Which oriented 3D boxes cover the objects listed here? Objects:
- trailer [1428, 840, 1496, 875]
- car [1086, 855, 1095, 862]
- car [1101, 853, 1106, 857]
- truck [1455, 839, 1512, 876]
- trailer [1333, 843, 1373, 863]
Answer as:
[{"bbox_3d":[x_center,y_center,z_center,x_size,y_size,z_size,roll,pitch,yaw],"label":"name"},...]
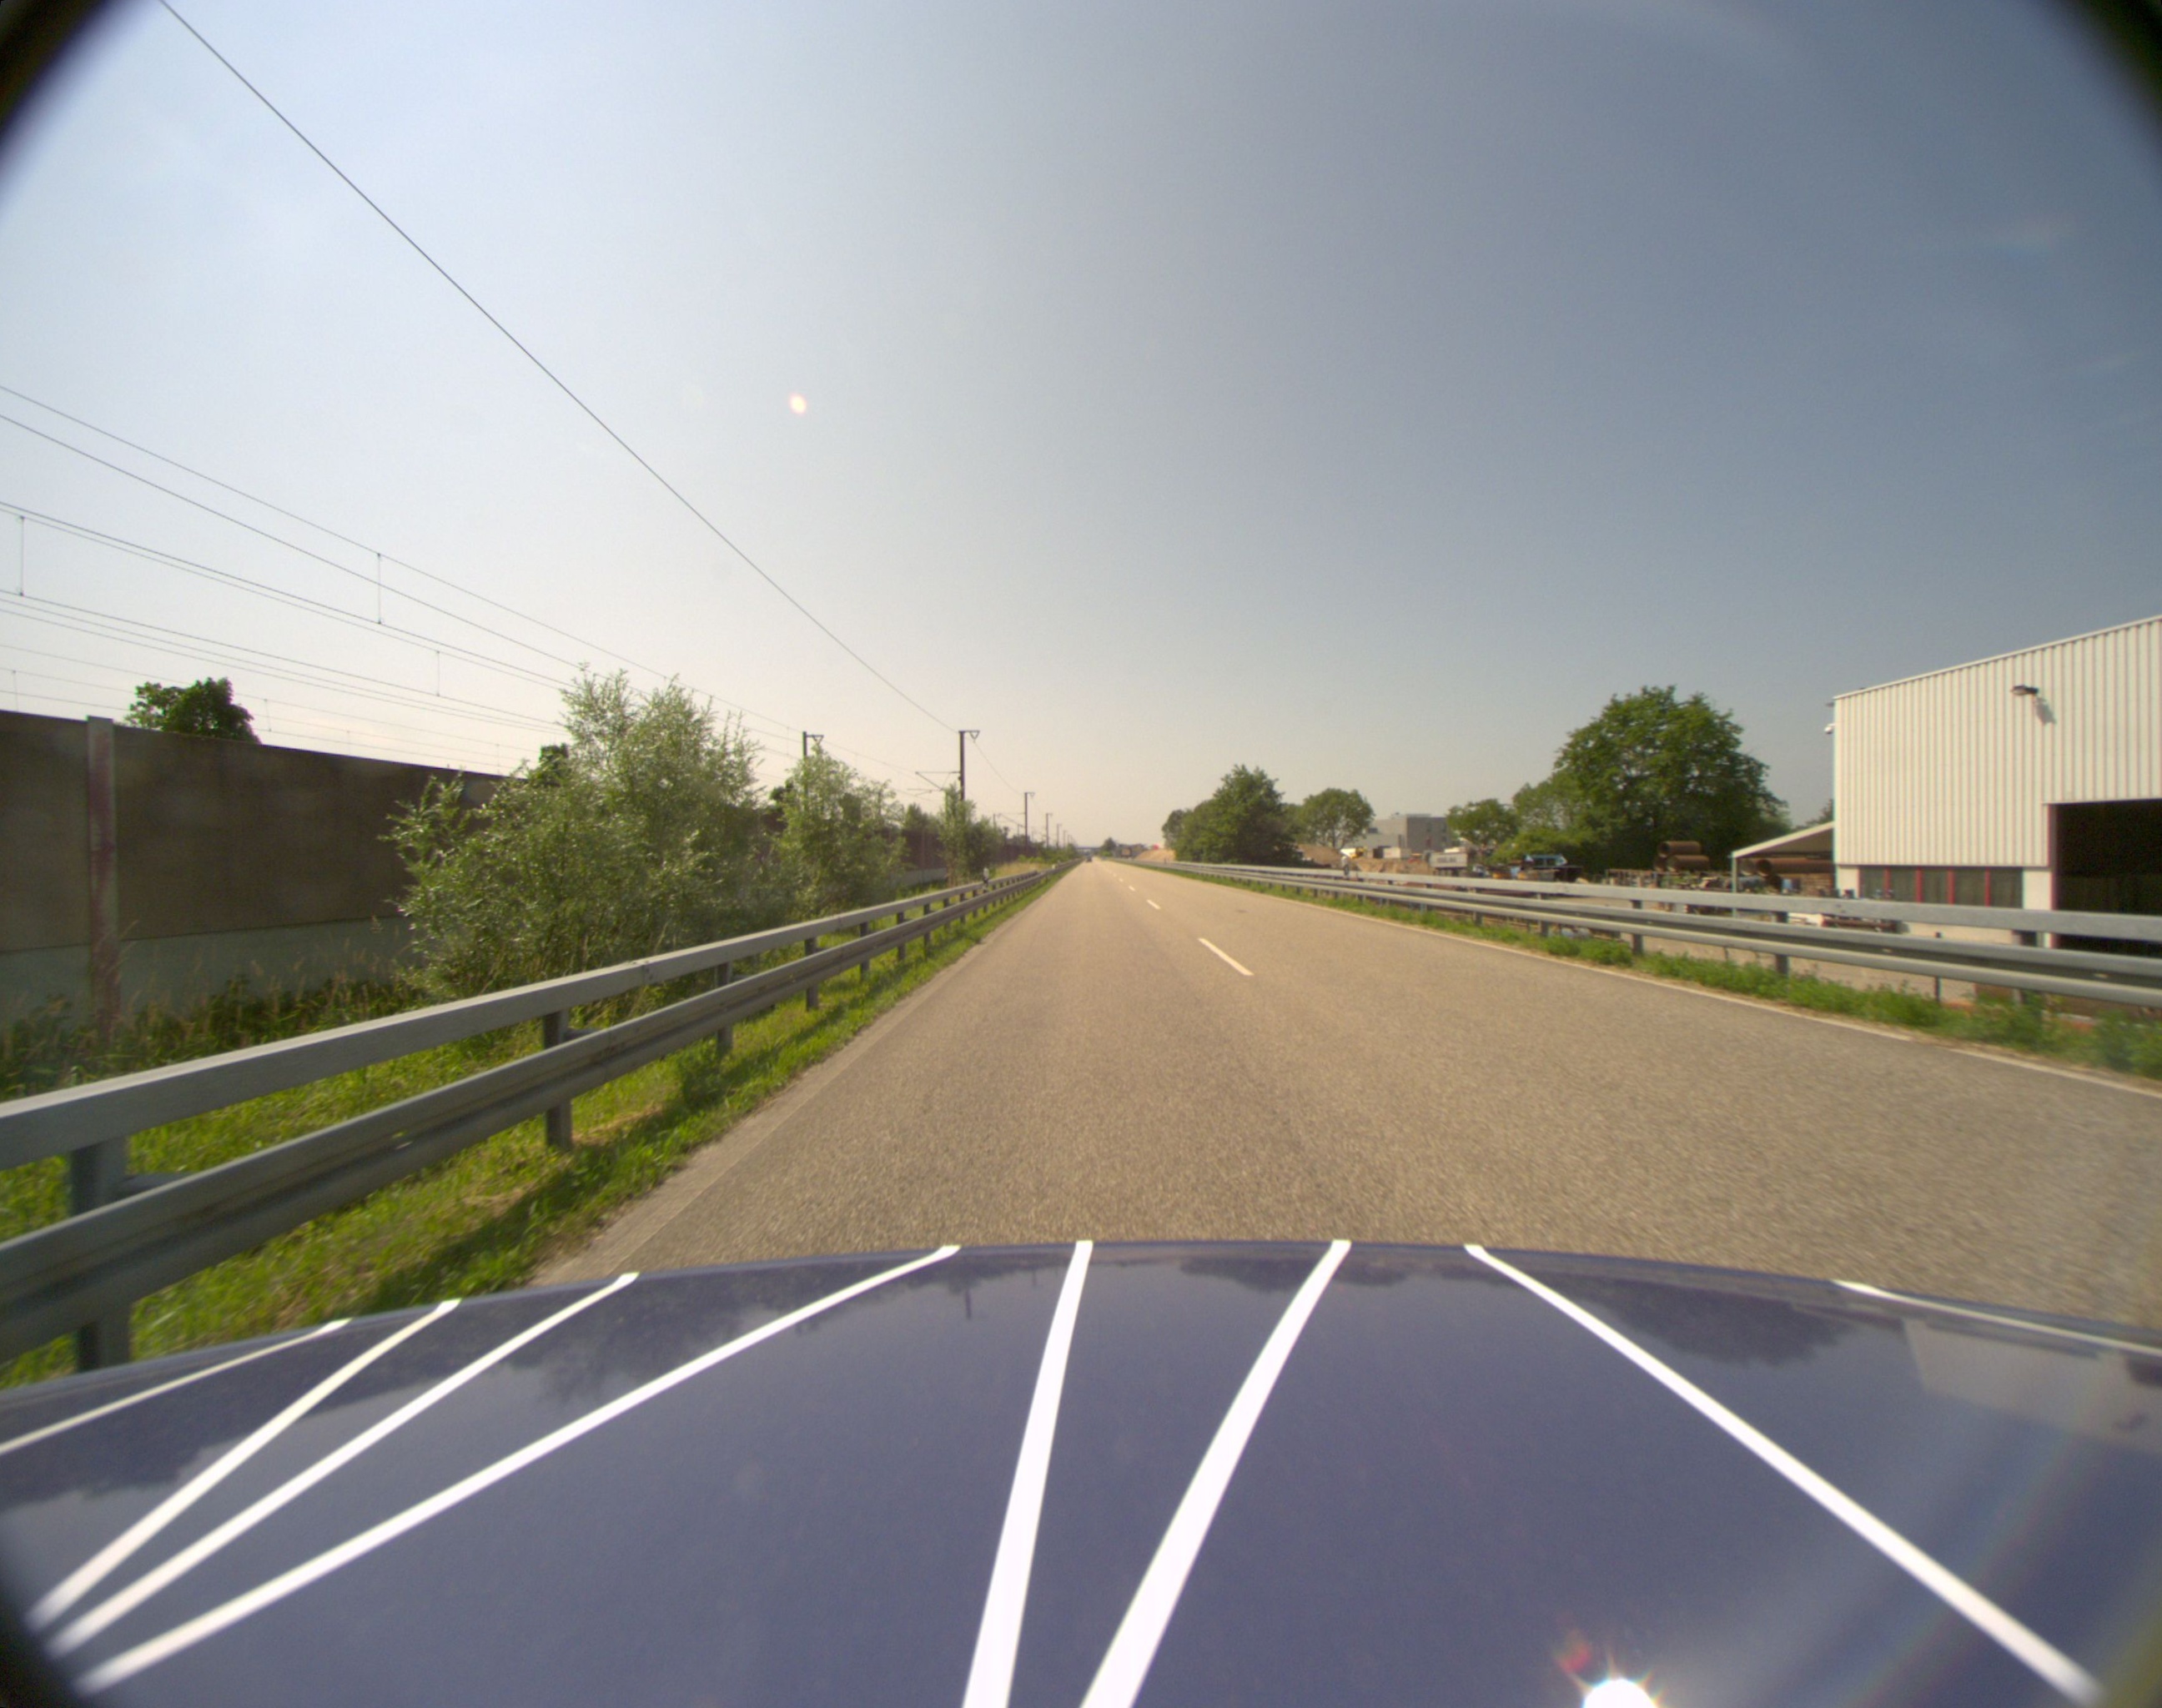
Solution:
[{"bbox_3d":[37.939,0.290,75.987,2.445,3.205,8.808,-3,0,2],"label":"trailer"},{"bbox_3d":[2.533,1.185,203.762,1.999,2.002,3.999,-2,0,-1],"label":"car"},{"bbox_3d":[7.605,0.328,257.662,1.599,1.567,3.828,-2,0,0],"label":"car"},{"bbox_3d":[37.746,0.318,71.455,2.444,3.205,5.886,-3,0,5],"label":"truck"},{"bbox_3d":[61.940,-0.123,173.410,2.704,4.235,15.581,-1,-1,-3],"label":"trailer"}]
